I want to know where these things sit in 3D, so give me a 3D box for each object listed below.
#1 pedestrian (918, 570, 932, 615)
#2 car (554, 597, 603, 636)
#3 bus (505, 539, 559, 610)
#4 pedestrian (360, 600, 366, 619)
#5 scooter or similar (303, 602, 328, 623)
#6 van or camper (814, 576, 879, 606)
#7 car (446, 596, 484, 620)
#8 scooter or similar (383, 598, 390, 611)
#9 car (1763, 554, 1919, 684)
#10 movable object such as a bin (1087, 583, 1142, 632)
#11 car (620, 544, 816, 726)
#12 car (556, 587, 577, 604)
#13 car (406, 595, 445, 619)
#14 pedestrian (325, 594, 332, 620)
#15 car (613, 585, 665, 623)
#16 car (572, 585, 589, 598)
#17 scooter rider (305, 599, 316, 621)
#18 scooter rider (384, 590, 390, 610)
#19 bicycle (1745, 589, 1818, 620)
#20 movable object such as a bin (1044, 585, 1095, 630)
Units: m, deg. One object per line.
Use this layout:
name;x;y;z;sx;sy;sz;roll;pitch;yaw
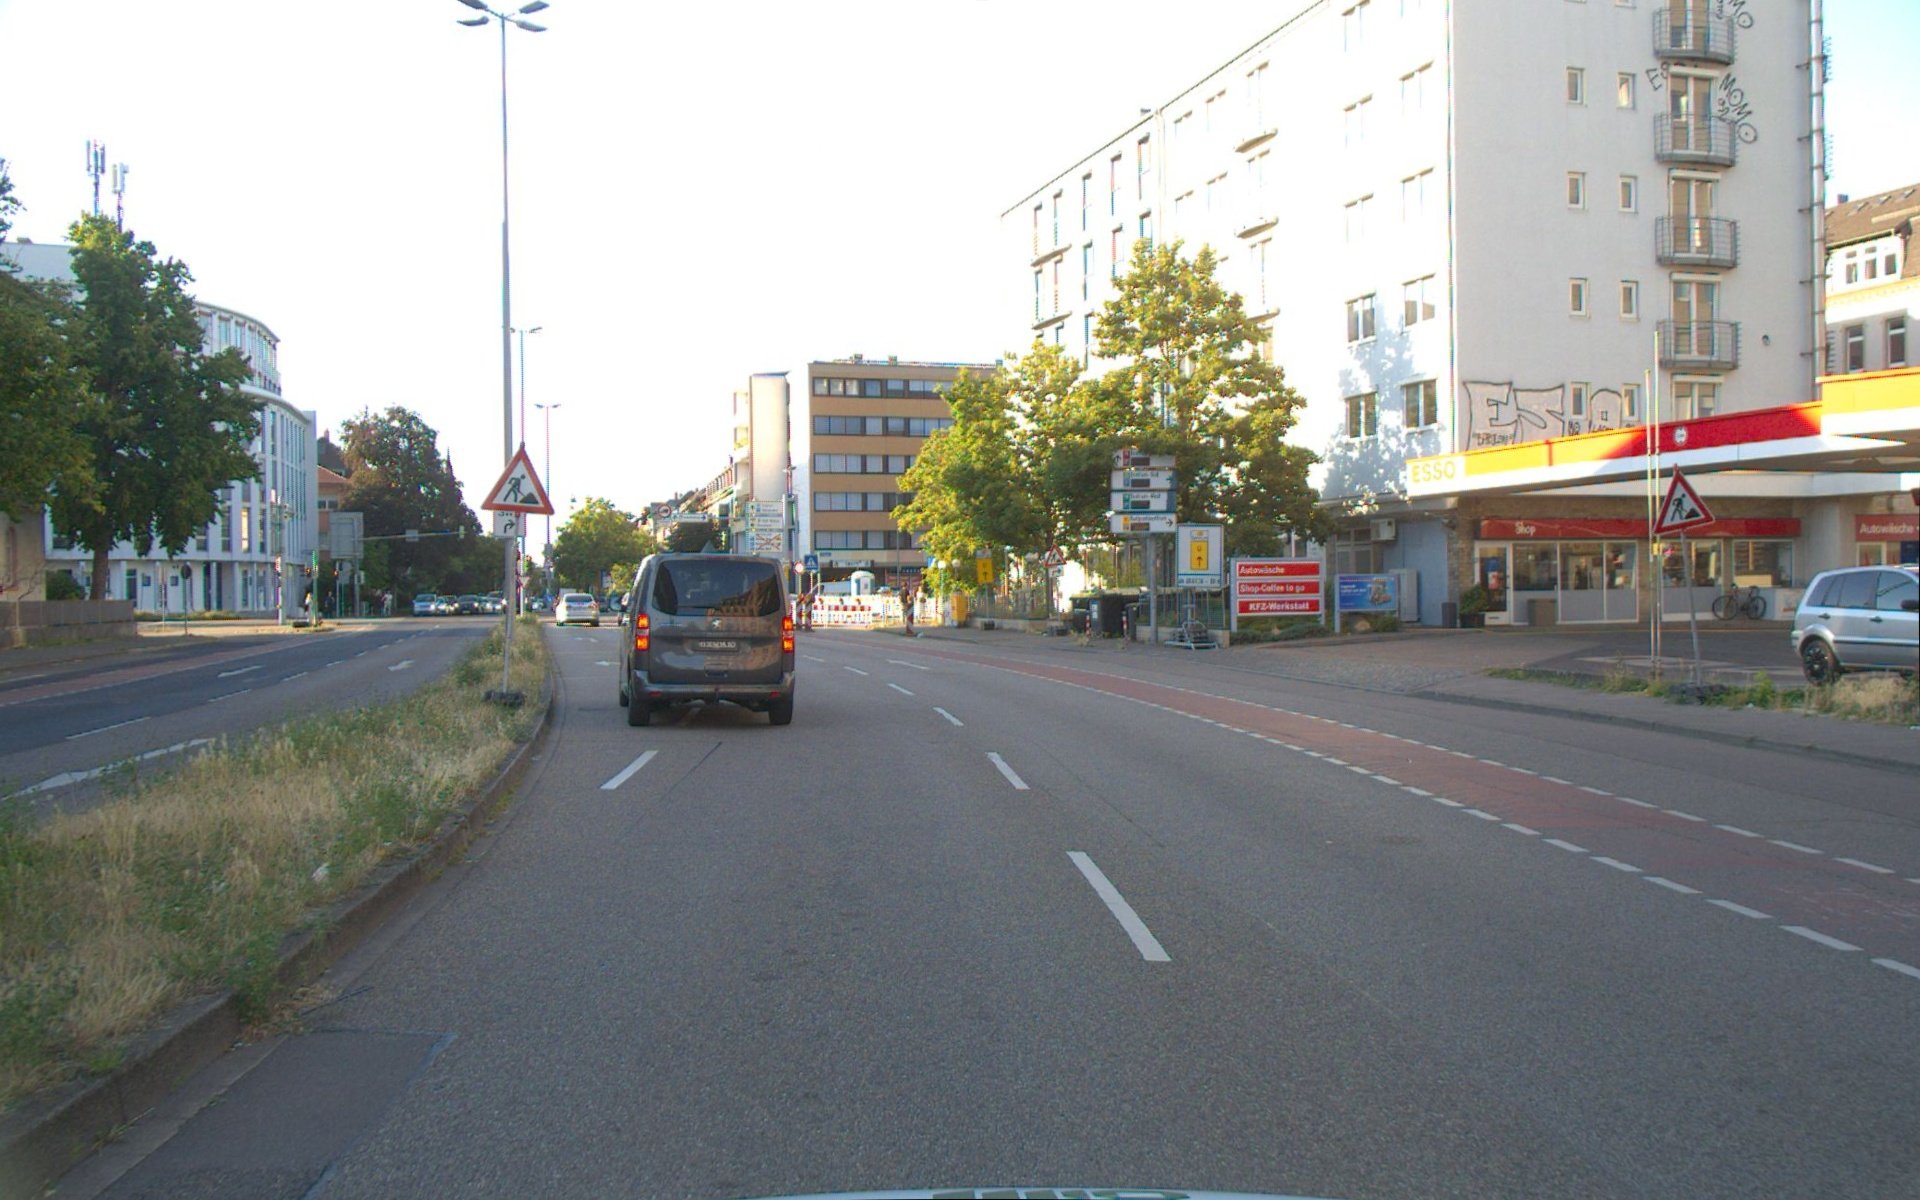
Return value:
pedestrian;-1.623;-0.350;76.528;0.482;2.049;0.662;-1;0;-15
car;-17.497;0.737;75.764;1.961;1.685;4.280;-1;1;-16
bus;-30.174;-1.729;116.351;3.237;4.698;9.953;1;0;-17
pedestrian;-41.914;0.694;116.086;0.348;1.313;0.378;-1;0;-13
scooter or similar;-31.331;0.600;80.401;1.084;0.993;0.555;1;0;-24
van or camper;-8.278;-0.655;120.887;4.486;2.049;1.993;-1;1;-13
car;-36.052;0.579;120.621;1.956;1.623;3.994;-1;1;-7
scooter or similar;-39.917;0.307;115.170;0.351;0.911;0.901;-1;0;-13
car;12.248;0.212;20.725;1.739;1.556;4.342;-1;1;-10
movable object such as a bin;4.764;0.221;51.088;1.434;1.479;1.545;-1;1;-6
car;-3.026;0.358;19.933;1.959;1.934;4.284;1;1;-13
car;-40.978;-0.469;172.379;1.820;1.738;3.706;-1;1;-18
car;-38.640;0.477;119.604;1.956;1.623;3.994;-1;1;-7
pedestrian;-40.960;0.472;107.323;0.371;1.688;0.564;-1;0;-25
car;-15.030;0.175;77.308;1.961;1.685;4.280;-1;1;-16
car;-50.819;-1.171;221.324;1.820;1.738;3.706;-1;0;-18
scooter rider;-31.538;0.487;80.315;0.502;1.054;0.443;1;0;-25
scooter rider;-39.913;0.010;115.145;0.349;1.397;0.336;-1;0;-13
bicycle;23.147;0.125;46.627;0.615;0.843;1.794;-2;1;-33
movable object such as a bin;3.581;0.240;54.341;1.434;1.410;1.545;-1;1;-6
